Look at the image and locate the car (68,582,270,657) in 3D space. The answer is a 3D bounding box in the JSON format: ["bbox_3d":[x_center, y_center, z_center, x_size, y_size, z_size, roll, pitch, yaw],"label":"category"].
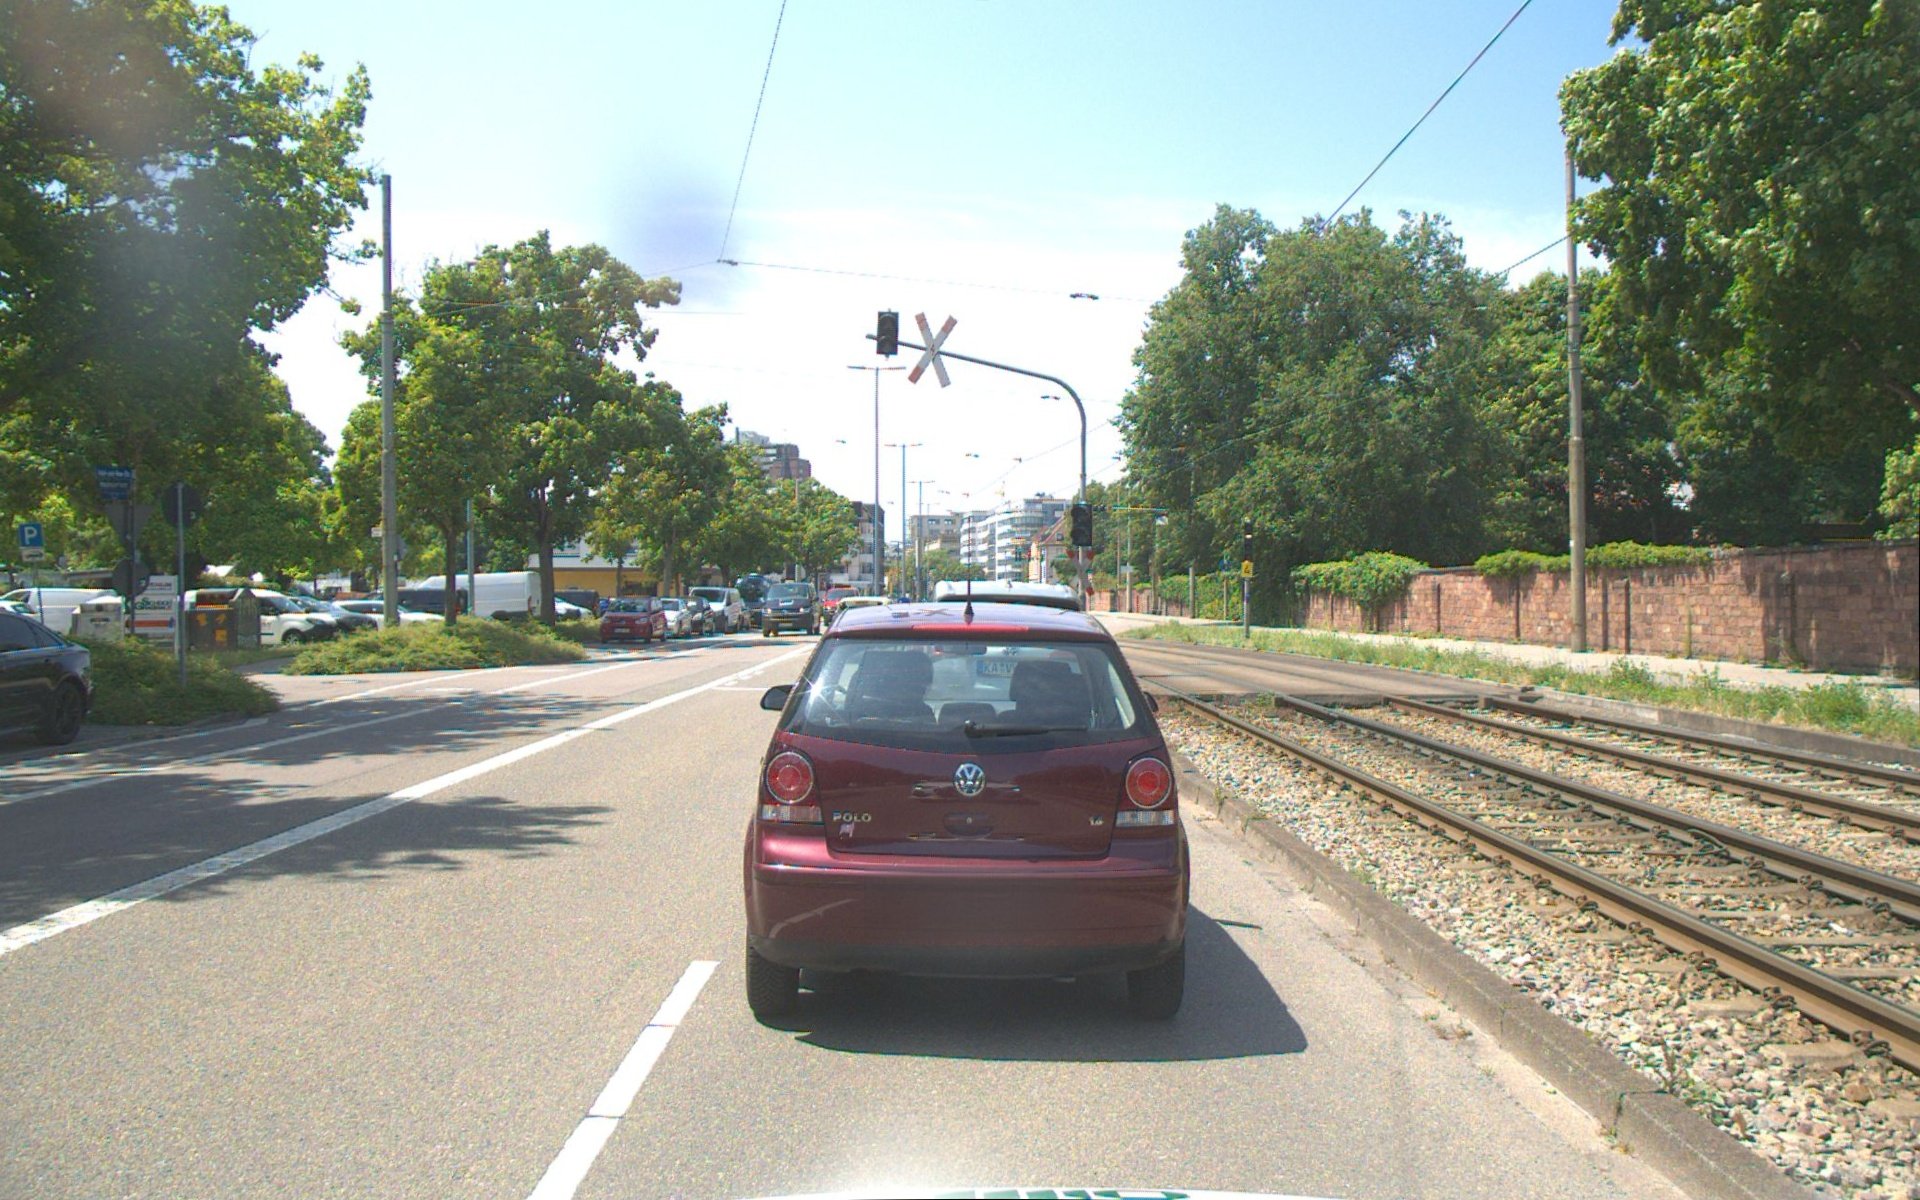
[{"bbox_3d":[-20.960,0.496,43.982,4.361,1.889,2.059,-1,0,-5],"label":"car"}]

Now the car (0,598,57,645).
[{"bbox_3d":[-33.726,0.743,57.525,3.670,1.603,1.732,0,0,-1],"label":"car"}]

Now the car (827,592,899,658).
[{"bbox_3d":[-2.260,0.566,39.117,1.520,1.473,3.411,1,0,-1],"label":"car"}]

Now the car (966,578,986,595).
[{"bbox_3d":[1.817,-1.576,193.543,1.881,1.944,4.566,-1,0,-5],"label":"car"}]

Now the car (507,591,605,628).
[{"bbox_3d":[-20.887,0.458,85.591,4.623,1.845,1.796,-1,0,-2],"label":"car"}]

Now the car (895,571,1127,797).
[{"bbox_3d":[0.363,0.639,14.725,1.759,1.712,3.999,1,0,-1],"label":"car"}]

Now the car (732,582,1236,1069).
[{"bbox_3d":[0.050,0.708,7.245,1.577,1.524,3.999,1,0,-1],"label":"car"}]

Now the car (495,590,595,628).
[{"bbox_3d":[-20.922,0.451,83.473,4.623,1.845,1.796,-1,0,-2],"label":"car"}]

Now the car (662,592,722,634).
[{"bbox_3d":[-10.583,0.501,65.513,1.581,1.510,3.785,3,0,2],"label":"car"}]

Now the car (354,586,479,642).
[{"bbox_3d":[-20.492,0.507,62.469,4.125,2.030,1.856,-1,0,-2],"label":"car"}]

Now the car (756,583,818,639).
[{"bbox_3d":[-6.415,0.385,61.781,1.879,1.944,4.570,-1,0,-1],"label":"car"}]

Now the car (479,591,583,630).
[{"bbox_3d":[-21.041,0.482,81.257,4.623,1.845,1.796,-1,0,-2],"label":"car"}]

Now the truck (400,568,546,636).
[{"bbox_3d":[-20.643,0.073,70.309,5.463,2.808,2.432,-1,0,0],"label":"truck"}]

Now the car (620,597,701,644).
[{"bbox_3d":[-10.703,0.696,59.399,1.683,1.451,4.773,-4,0,4],"label":"car"}]

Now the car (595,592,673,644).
[{"bbox_3d":[-10.523,0.573,53.576,1.637,1.573,3.727,1,0,2],"label":"car"}]

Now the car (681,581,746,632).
[{"bbox_3d":[-10.476,0.269,70.714,1.824,1.971,4.806,3,0,2],"label":"car"}]

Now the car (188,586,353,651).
[{"bbox_3d":[-20.339,0.533,48.882,4.178,1.867,1.673,-1,0,1],"label":"car"}]

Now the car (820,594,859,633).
[{"bbox_3d":[-6.370,0.680,88.010,1.861,1.959,4.818,-1,0,-2],"label":"car"}]

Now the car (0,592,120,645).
[{"bbox_3d":[-32.903,0.654,59.813,4.044,1.852,1.970,0,0,-1],"label":"car"}]

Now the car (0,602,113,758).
[{"bbox_3d":[-10.230,0.781,15.922,1.856,1.482,4.807,1,0,-3],"label":"car"}]

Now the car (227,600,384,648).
[{"bbox_3d":[-20.393,0.730,51.669,4.114,1.428,2.079,-1,0,-5],"label":"car"}]

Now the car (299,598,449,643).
[{"bbox_3d":[-21.035,0.719,59.514,4.665,1.514,2.057,-1,0,-2],"label":"car"}]
